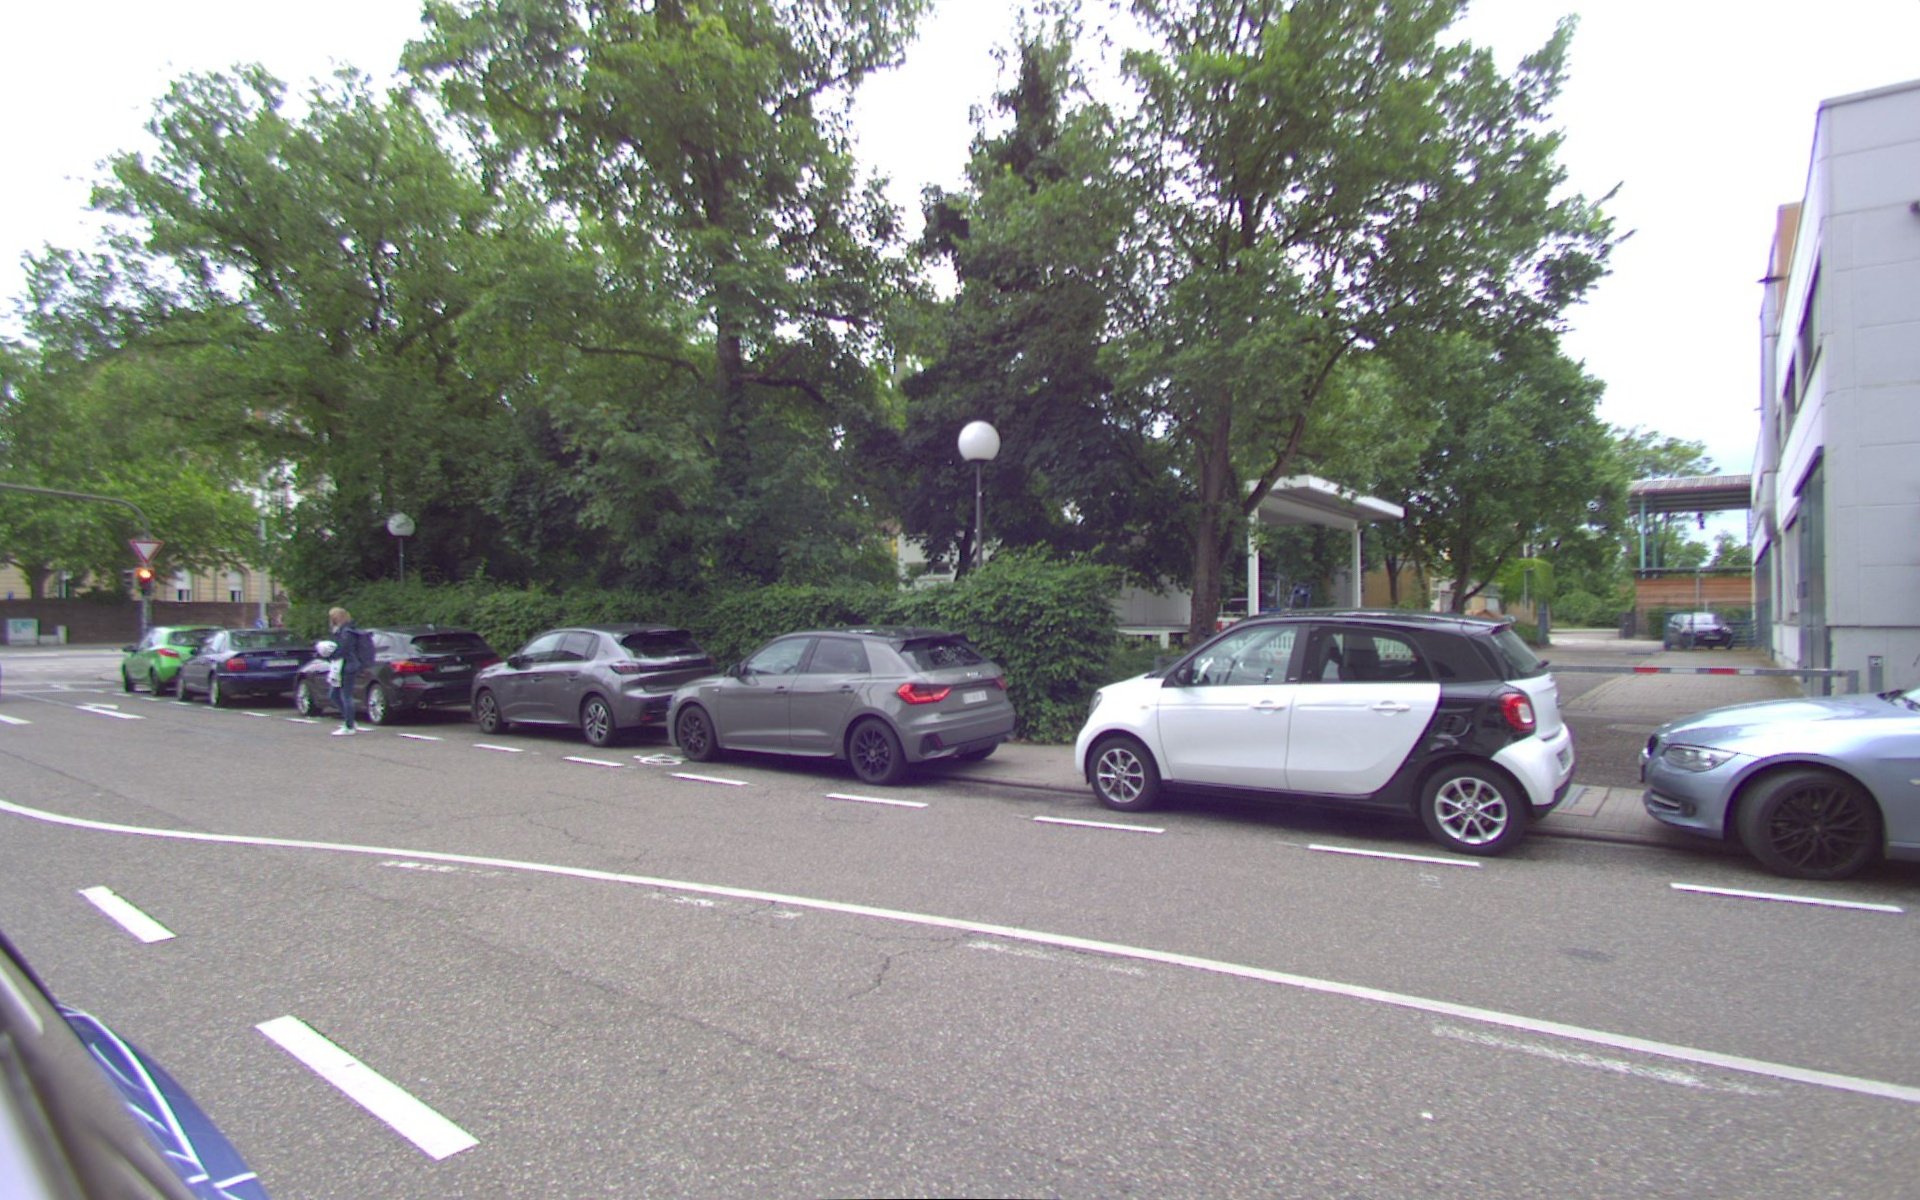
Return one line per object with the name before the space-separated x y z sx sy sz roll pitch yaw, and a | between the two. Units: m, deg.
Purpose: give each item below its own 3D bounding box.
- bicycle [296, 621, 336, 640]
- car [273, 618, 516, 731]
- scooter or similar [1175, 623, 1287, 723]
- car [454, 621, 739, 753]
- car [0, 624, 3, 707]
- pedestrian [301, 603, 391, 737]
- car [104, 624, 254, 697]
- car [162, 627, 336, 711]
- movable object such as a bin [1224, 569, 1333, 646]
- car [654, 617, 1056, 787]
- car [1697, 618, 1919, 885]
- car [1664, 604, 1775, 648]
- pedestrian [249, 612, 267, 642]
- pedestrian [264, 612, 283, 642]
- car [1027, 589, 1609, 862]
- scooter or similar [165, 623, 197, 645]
bicycle | -40.729 1.932 64.031 0.581 1.194 2.134 1 0 29
car | -9.161 1.114 16.251 4.523 1.573 1.781 -2 -2 38
scooter or similar | 3.439 0.910 12.848 1.285 1.219 0.452 -1 -1 -11
car | -4.836 1.020 13.273 3.819 1.482 1.745 -1 -2 38
car | -19.757 1.208 19.144 4.162 1.508 1.766 -1 -2 38
pedestrian | -8.074 0.900 13.307 0.967 1.674 0.731 -3 -3 41
car | -17.611 1.283 22.761 4.244 1.481 1.780 -1 -2 40
car | -13.747 1.234 19.468 4.335 1.419 1.779 -1 -2 42
movable object such as a bin | 9.968 0.298 31.420 1.995 2.188 4.616 -1 -2 34
car | -1.184 0.922 10.440 4.001 1.422 1.747 -2 -2 36
car | 6.608 0.802 5.454 4.185 1.399 1.802 -1 -1 35
car | 28.075 0.953 37.559 1.860 1.541 3.754 -1 -1 12
pedestrian | -40.797 1.554 58.822 0.734 1.752 0.662 0 -1 35
pedestrian | -40.367 1.567 59.485 0.776 1.706 0.636 1 0 31
car | 2.605 0.788 7.778 3.871 1.598 1.700 -2 -1 37
scooter or similar | -44.802 1.972 58.191 1.389 1.239 0.496 1 0 -34
